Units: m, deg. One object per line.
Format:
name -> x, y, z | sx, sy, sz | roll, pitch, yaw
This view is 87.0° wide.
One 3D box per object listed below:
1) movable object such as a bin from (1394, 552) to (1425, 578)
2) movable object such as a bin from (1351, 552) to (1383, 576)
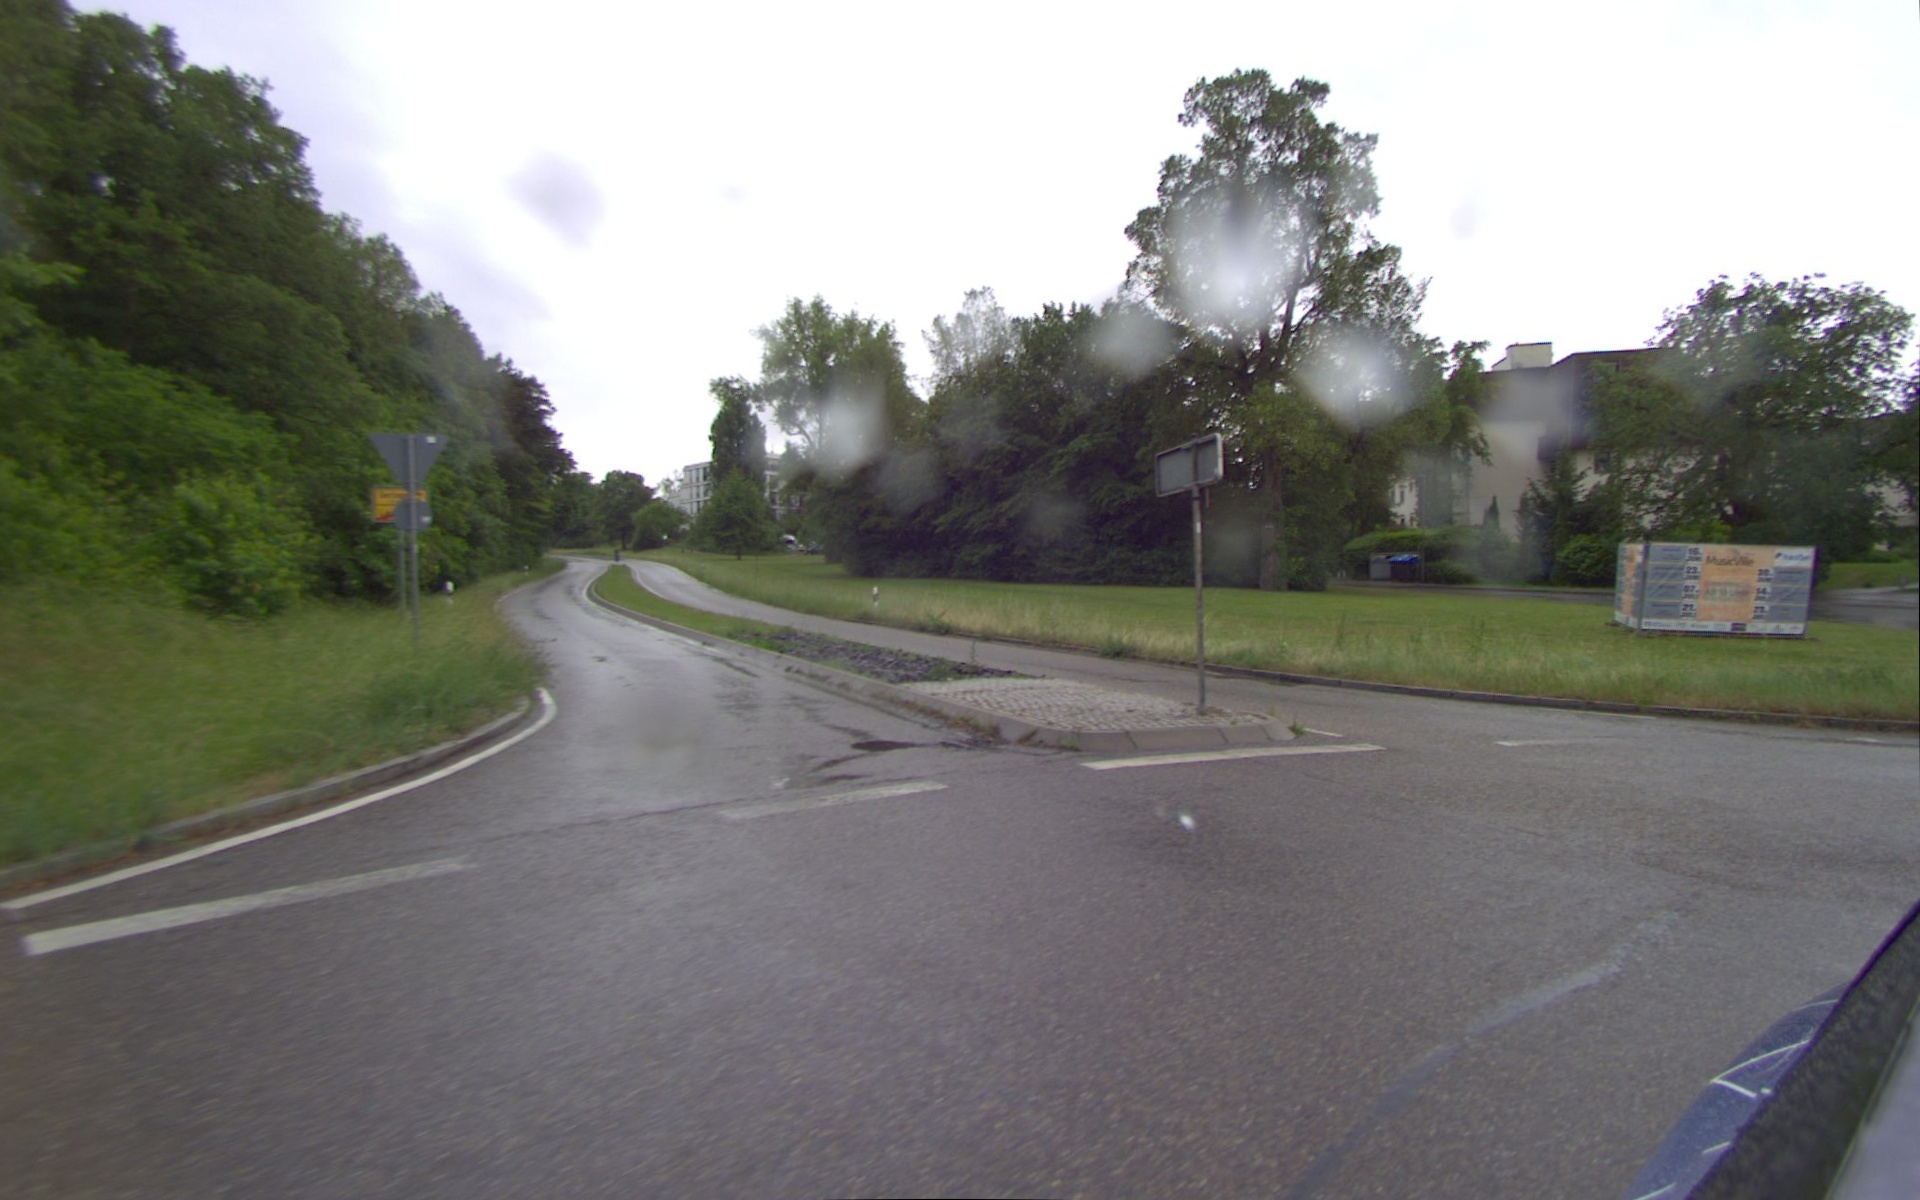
movable object such as a bin -> 25.843, -2.004, 58.235 | 1.173, 1.454, 1.077 | -2, 2, -15
movable object such as a bin -> 24.677, -2.188, 61.396 | 1.173, 1.455, 1.432 | -1, 2, -15
